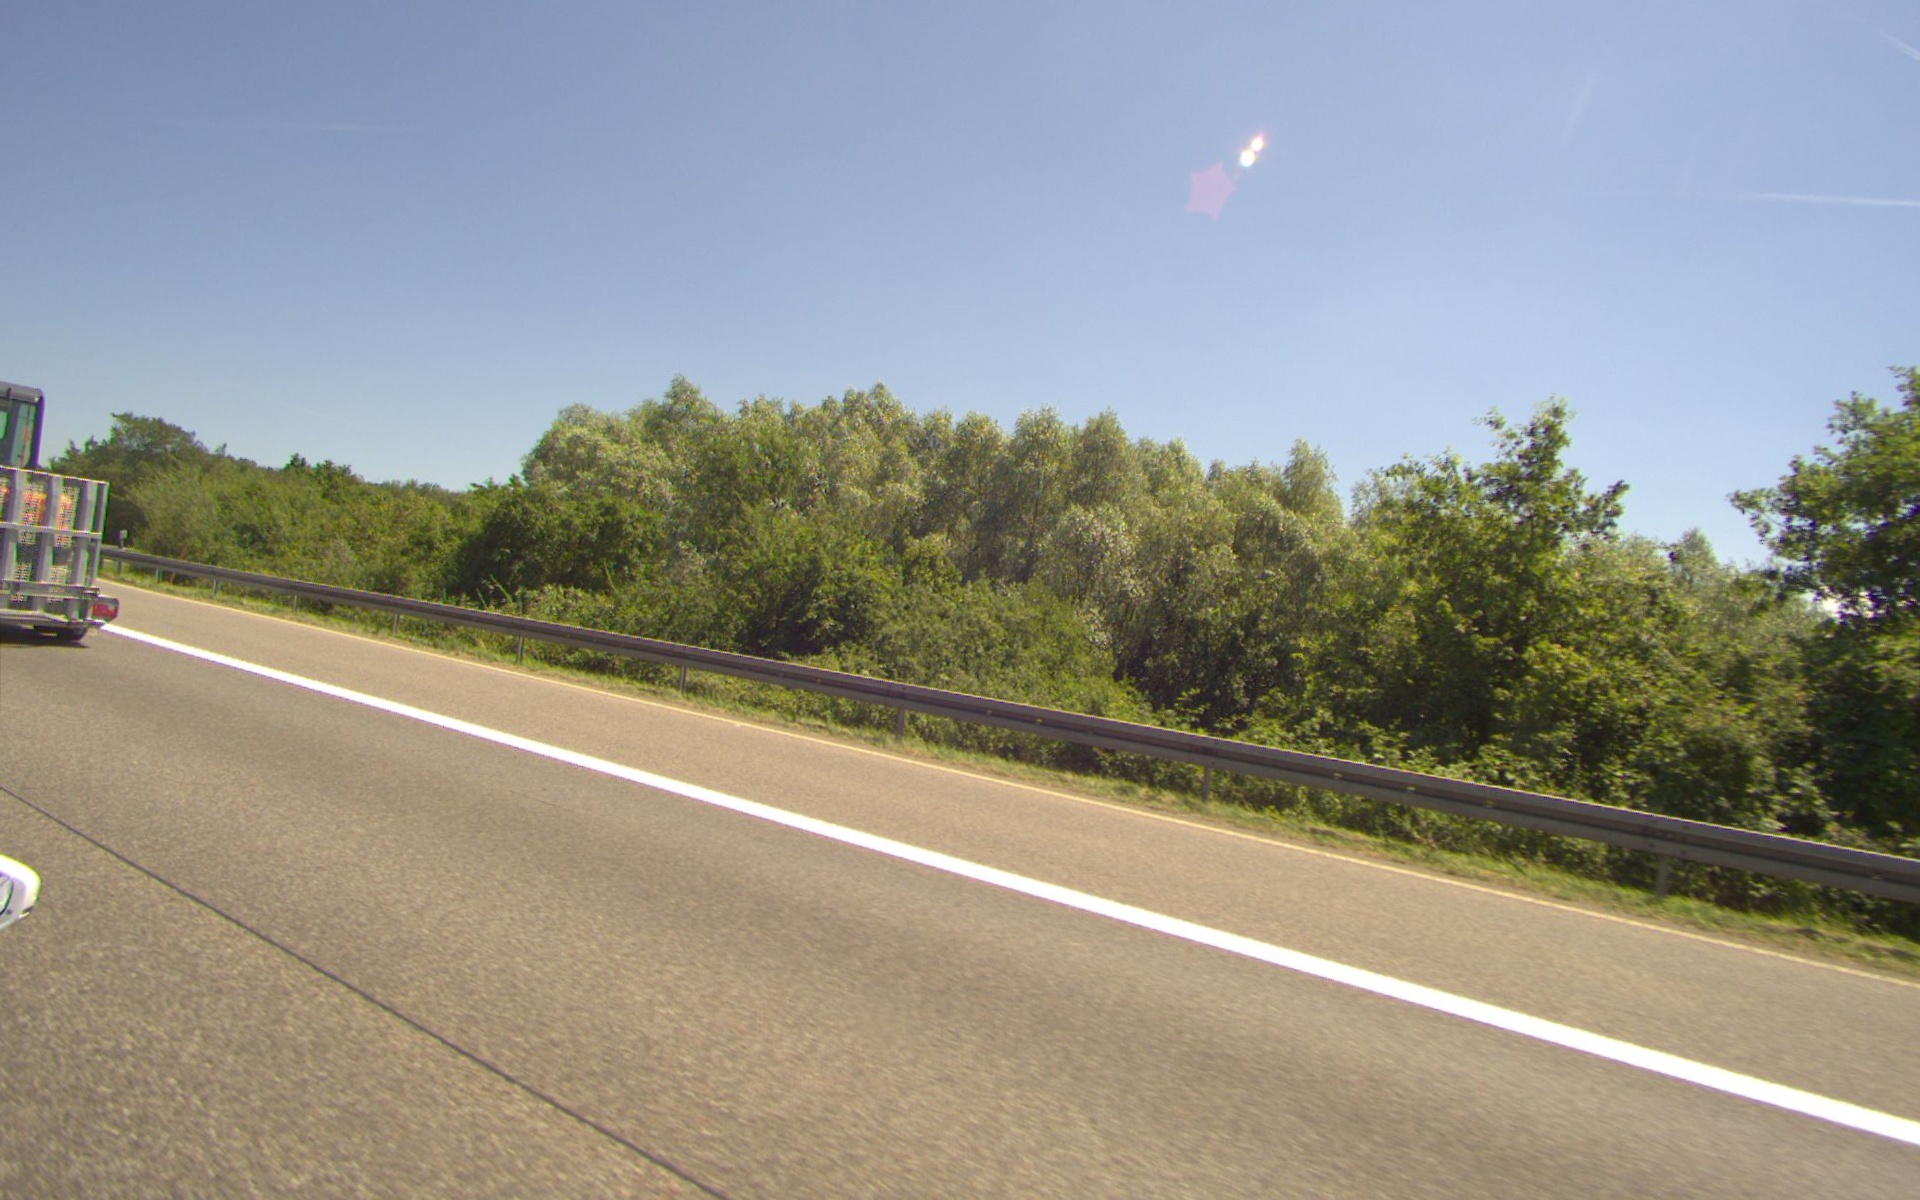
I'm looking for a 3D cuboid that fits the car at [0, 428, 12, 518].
[{"bbox_3d":[-16.173,-1.456,14.276,7.106,2.433,1.997,6,-2,32],"label":"car"}]

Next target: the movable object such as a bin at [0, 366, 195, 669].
[{"bbox_3d":[-11.073,-0.990,11.283,4.682,2.848,2.178,6,-2,32],"label":"movable object such as a bin"}]
